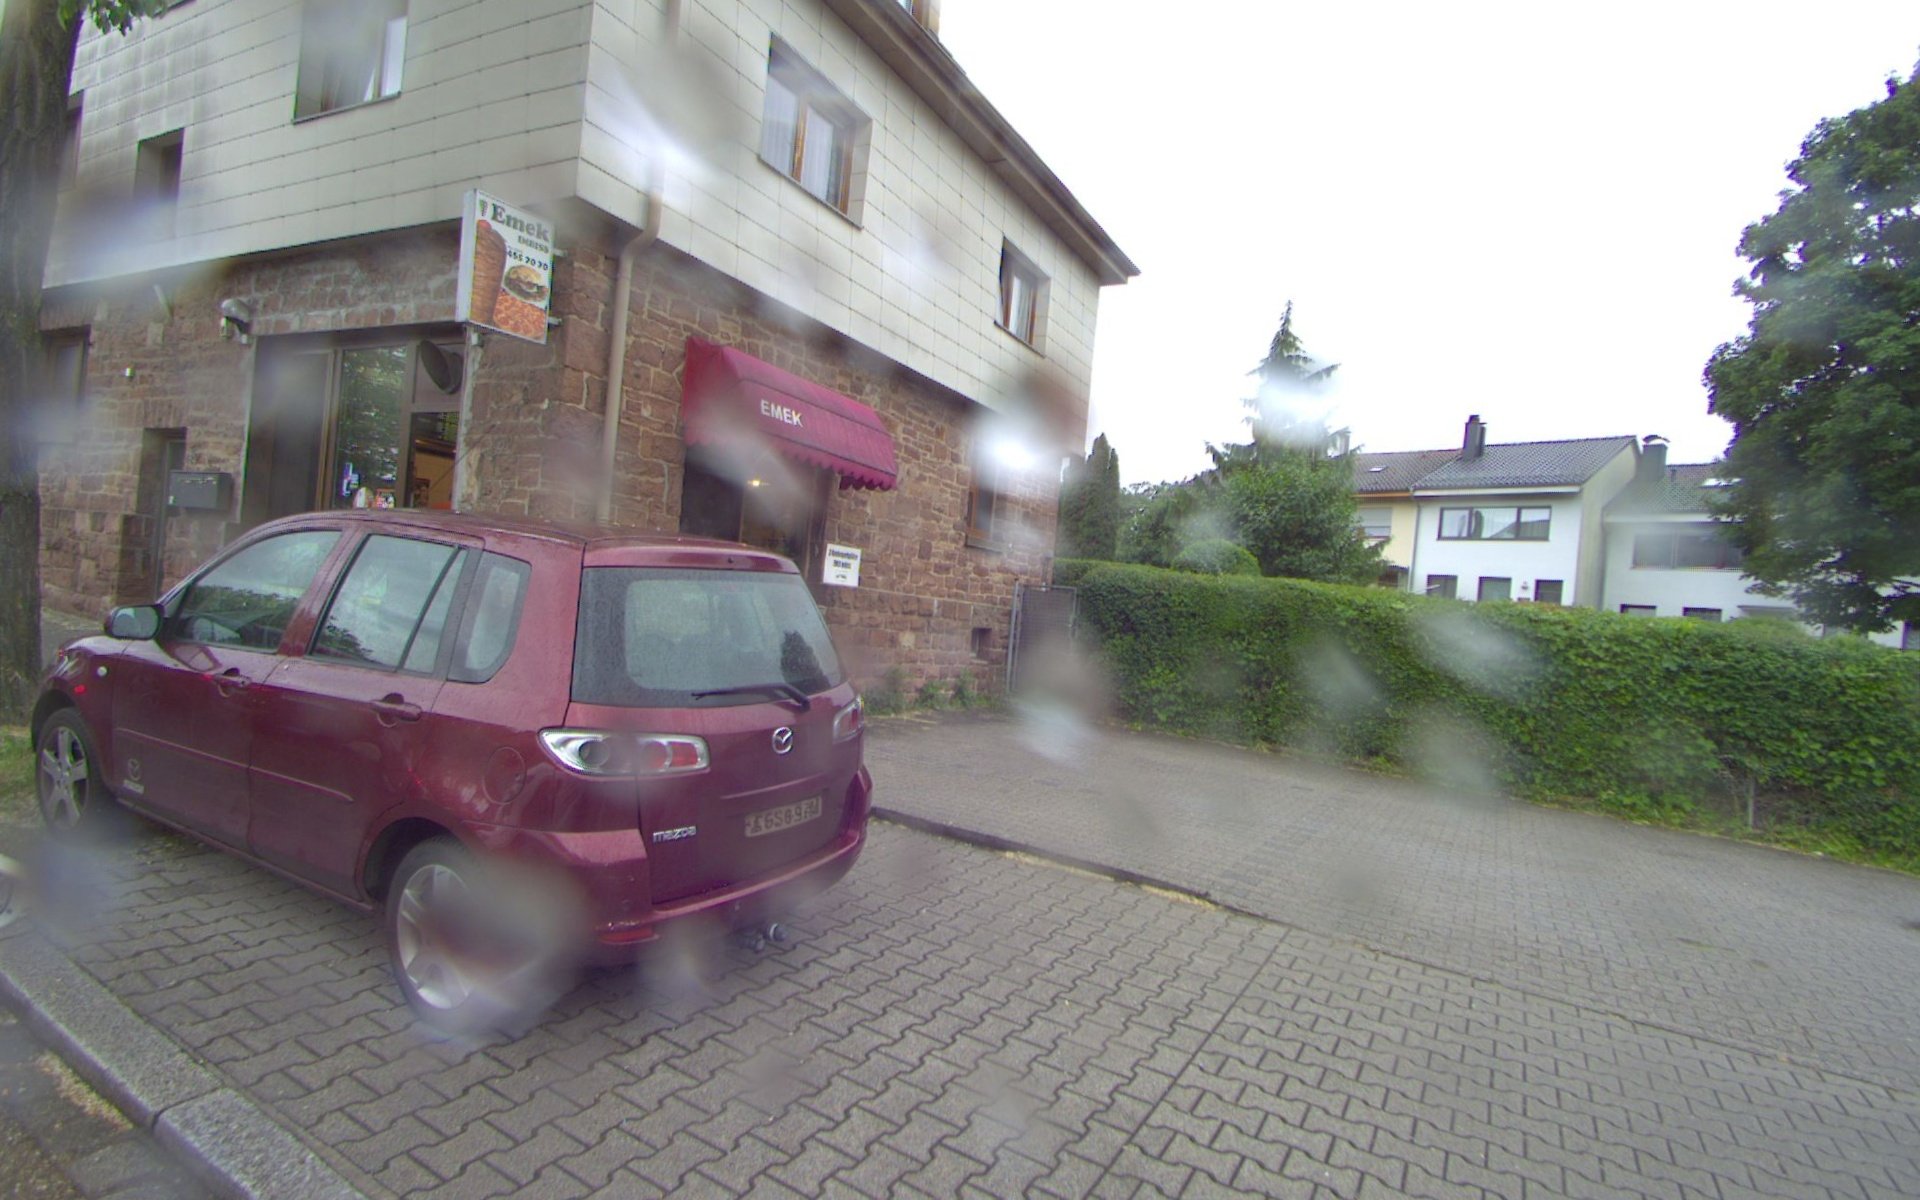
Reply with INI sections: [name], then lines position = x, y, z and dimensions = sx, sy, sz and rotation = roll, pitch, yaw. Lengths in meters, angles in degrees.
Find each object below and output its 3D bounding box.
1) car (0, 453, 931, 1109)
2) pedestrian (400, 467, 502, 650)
[car]
position = -2.111, 0.355, 4.074
dimensions = 3.565, 1.511, 1.585
rotation = 7, 3, 29
[pedestrian]
position = -5.444, -0.429, 10.774
dimensions = 0.475, 1.862, 0.638
rotation = 7, 0, 31
